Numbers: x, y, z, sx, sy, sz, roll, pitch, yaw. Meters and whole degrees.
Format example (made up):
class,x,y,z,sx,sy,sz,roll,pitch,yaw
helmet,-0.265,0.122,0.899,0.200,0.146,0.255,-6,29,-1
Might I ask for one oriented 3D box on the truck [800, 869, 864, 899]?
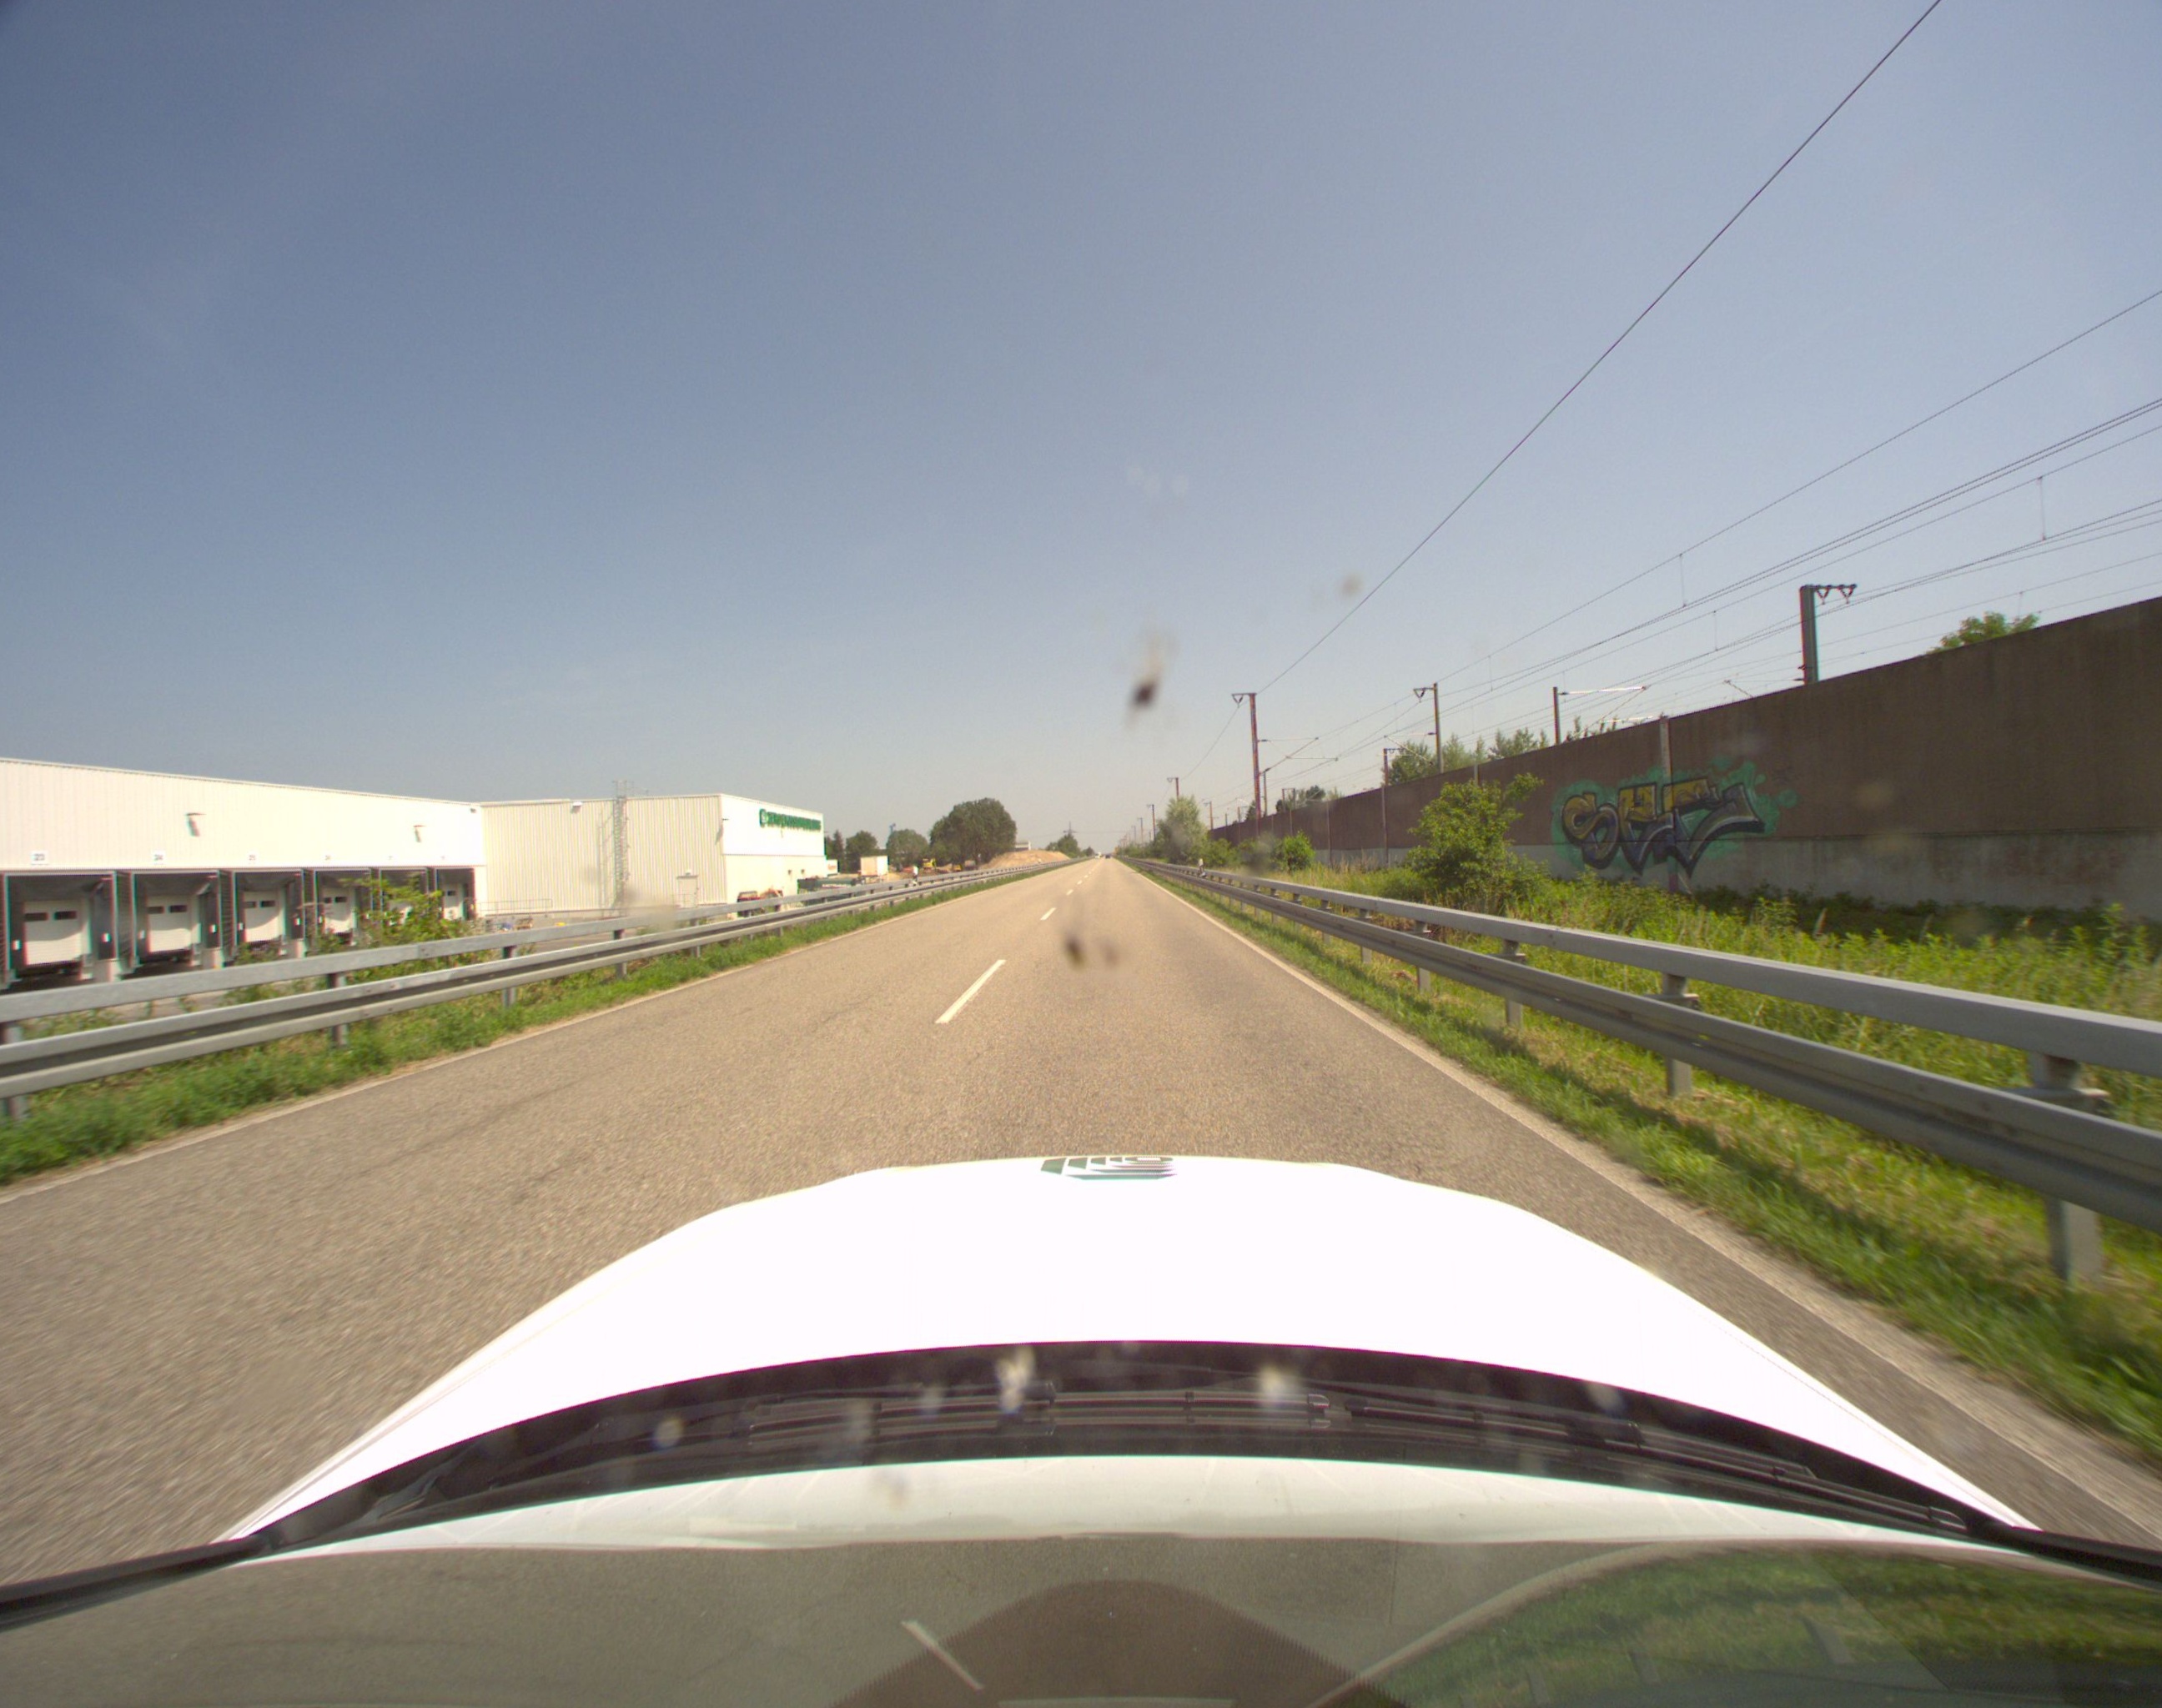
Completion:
class,x,y,z,sx,sy,sz,roll,pitch,yaw
truck,-22.032,2.649,72.216,5.033,2.537,2.271,-1,-1,-3

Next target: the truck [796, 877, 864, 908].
class,x,y,z,sx,sy,sz,roll,pitch,yaw
truck,-21.184,3.236,68.878,4.990,2.333,2.233,-2,0,1

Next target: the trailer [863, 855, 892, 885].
class,x,y,z,sx,sy,sz,roll,pitch,yaw
trailer,-31.420,2.421,125.903,2.672,4.332,7.946,-2,0,-2

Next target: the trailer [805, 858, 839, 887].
class,x,y,z,sx,sy,sz,roll,pitch,yaw
trailer,-39.991,2.797,125.823,2.736,4.147,7.895,-2,0,-1
